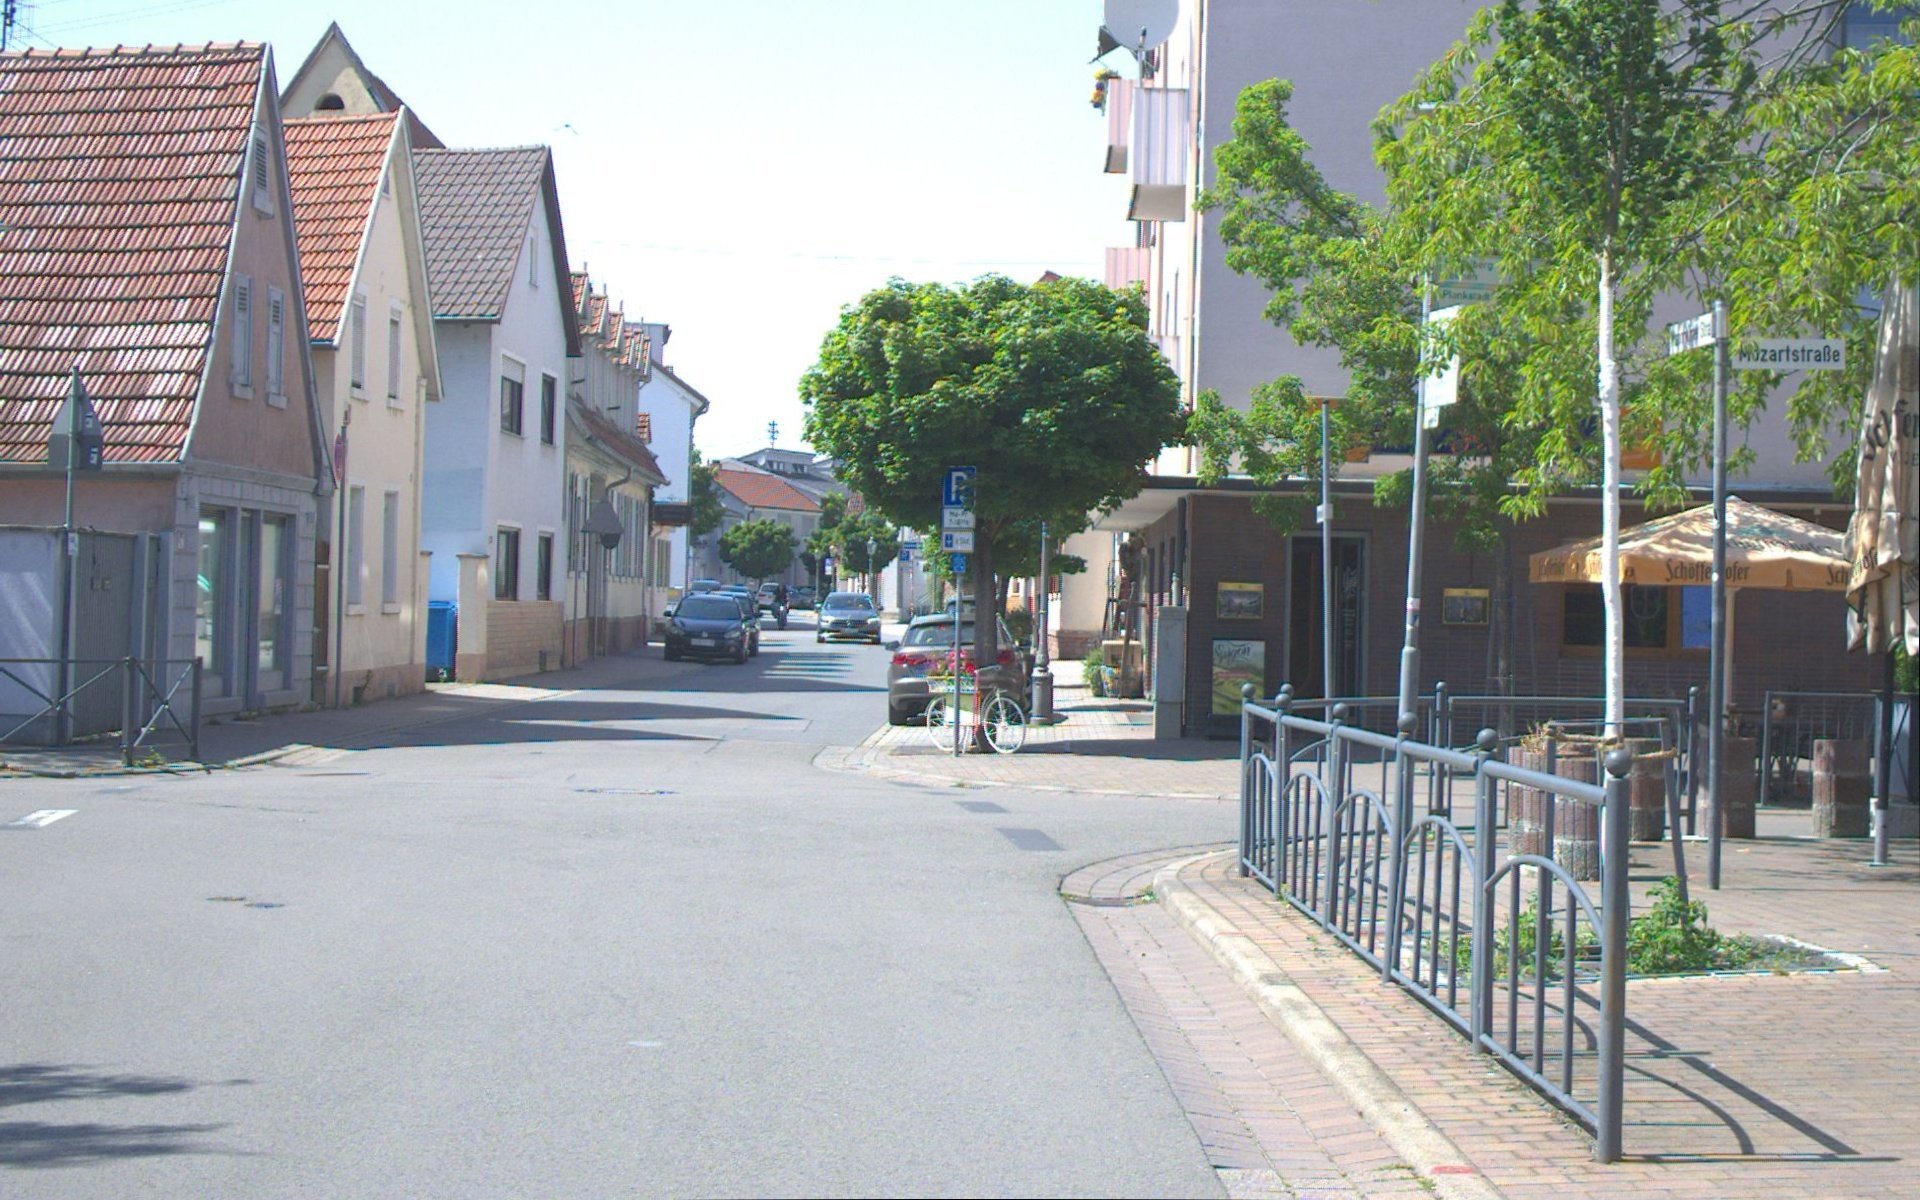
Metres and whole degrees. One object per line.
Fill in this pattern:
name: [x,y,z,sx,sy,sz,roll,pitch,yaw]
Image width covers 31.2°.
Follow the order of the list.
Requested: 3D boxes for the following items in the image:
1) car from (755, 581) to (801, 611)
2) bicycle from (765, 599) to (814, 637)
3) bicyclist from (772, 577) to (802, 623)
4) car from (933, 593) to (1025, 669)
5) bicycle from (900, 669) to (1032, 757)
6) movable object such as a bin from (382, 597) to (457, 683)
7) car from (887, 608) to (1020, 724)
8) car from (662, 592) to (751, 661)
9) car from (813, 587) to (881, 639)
car: [-9.798,-0.205,185.055,2.027,1.593,4.508,1,0,2]
bicycle: [-6.253,0.649,125.855,1.623,1.366,3.926,1,0,-5]
bicyclist: [-6.323,-0.001,125.735,1.046,1.632,1.128,1,0,-5]
car: [0.444,0.691,79.095,2.043,1.683,4.841,1,0,1]
bicycle: [0.058,1.192,36.601,1.412,0.894,0.464,0,0,37]
movable object such as a bin: [-8.646,0.641,54.973,1.102,1.361,0.390,1,0,4]
car: [-0.054,0.841,45.231,1.576,1.449,3.485,1,0,2]
car: [-5.605,0.568,76.340,1.663,1.471,4.134,1,0,0]
car: [-3.300,0.396,101.066,1.909,1.476,4.844,1,-1,-1]
